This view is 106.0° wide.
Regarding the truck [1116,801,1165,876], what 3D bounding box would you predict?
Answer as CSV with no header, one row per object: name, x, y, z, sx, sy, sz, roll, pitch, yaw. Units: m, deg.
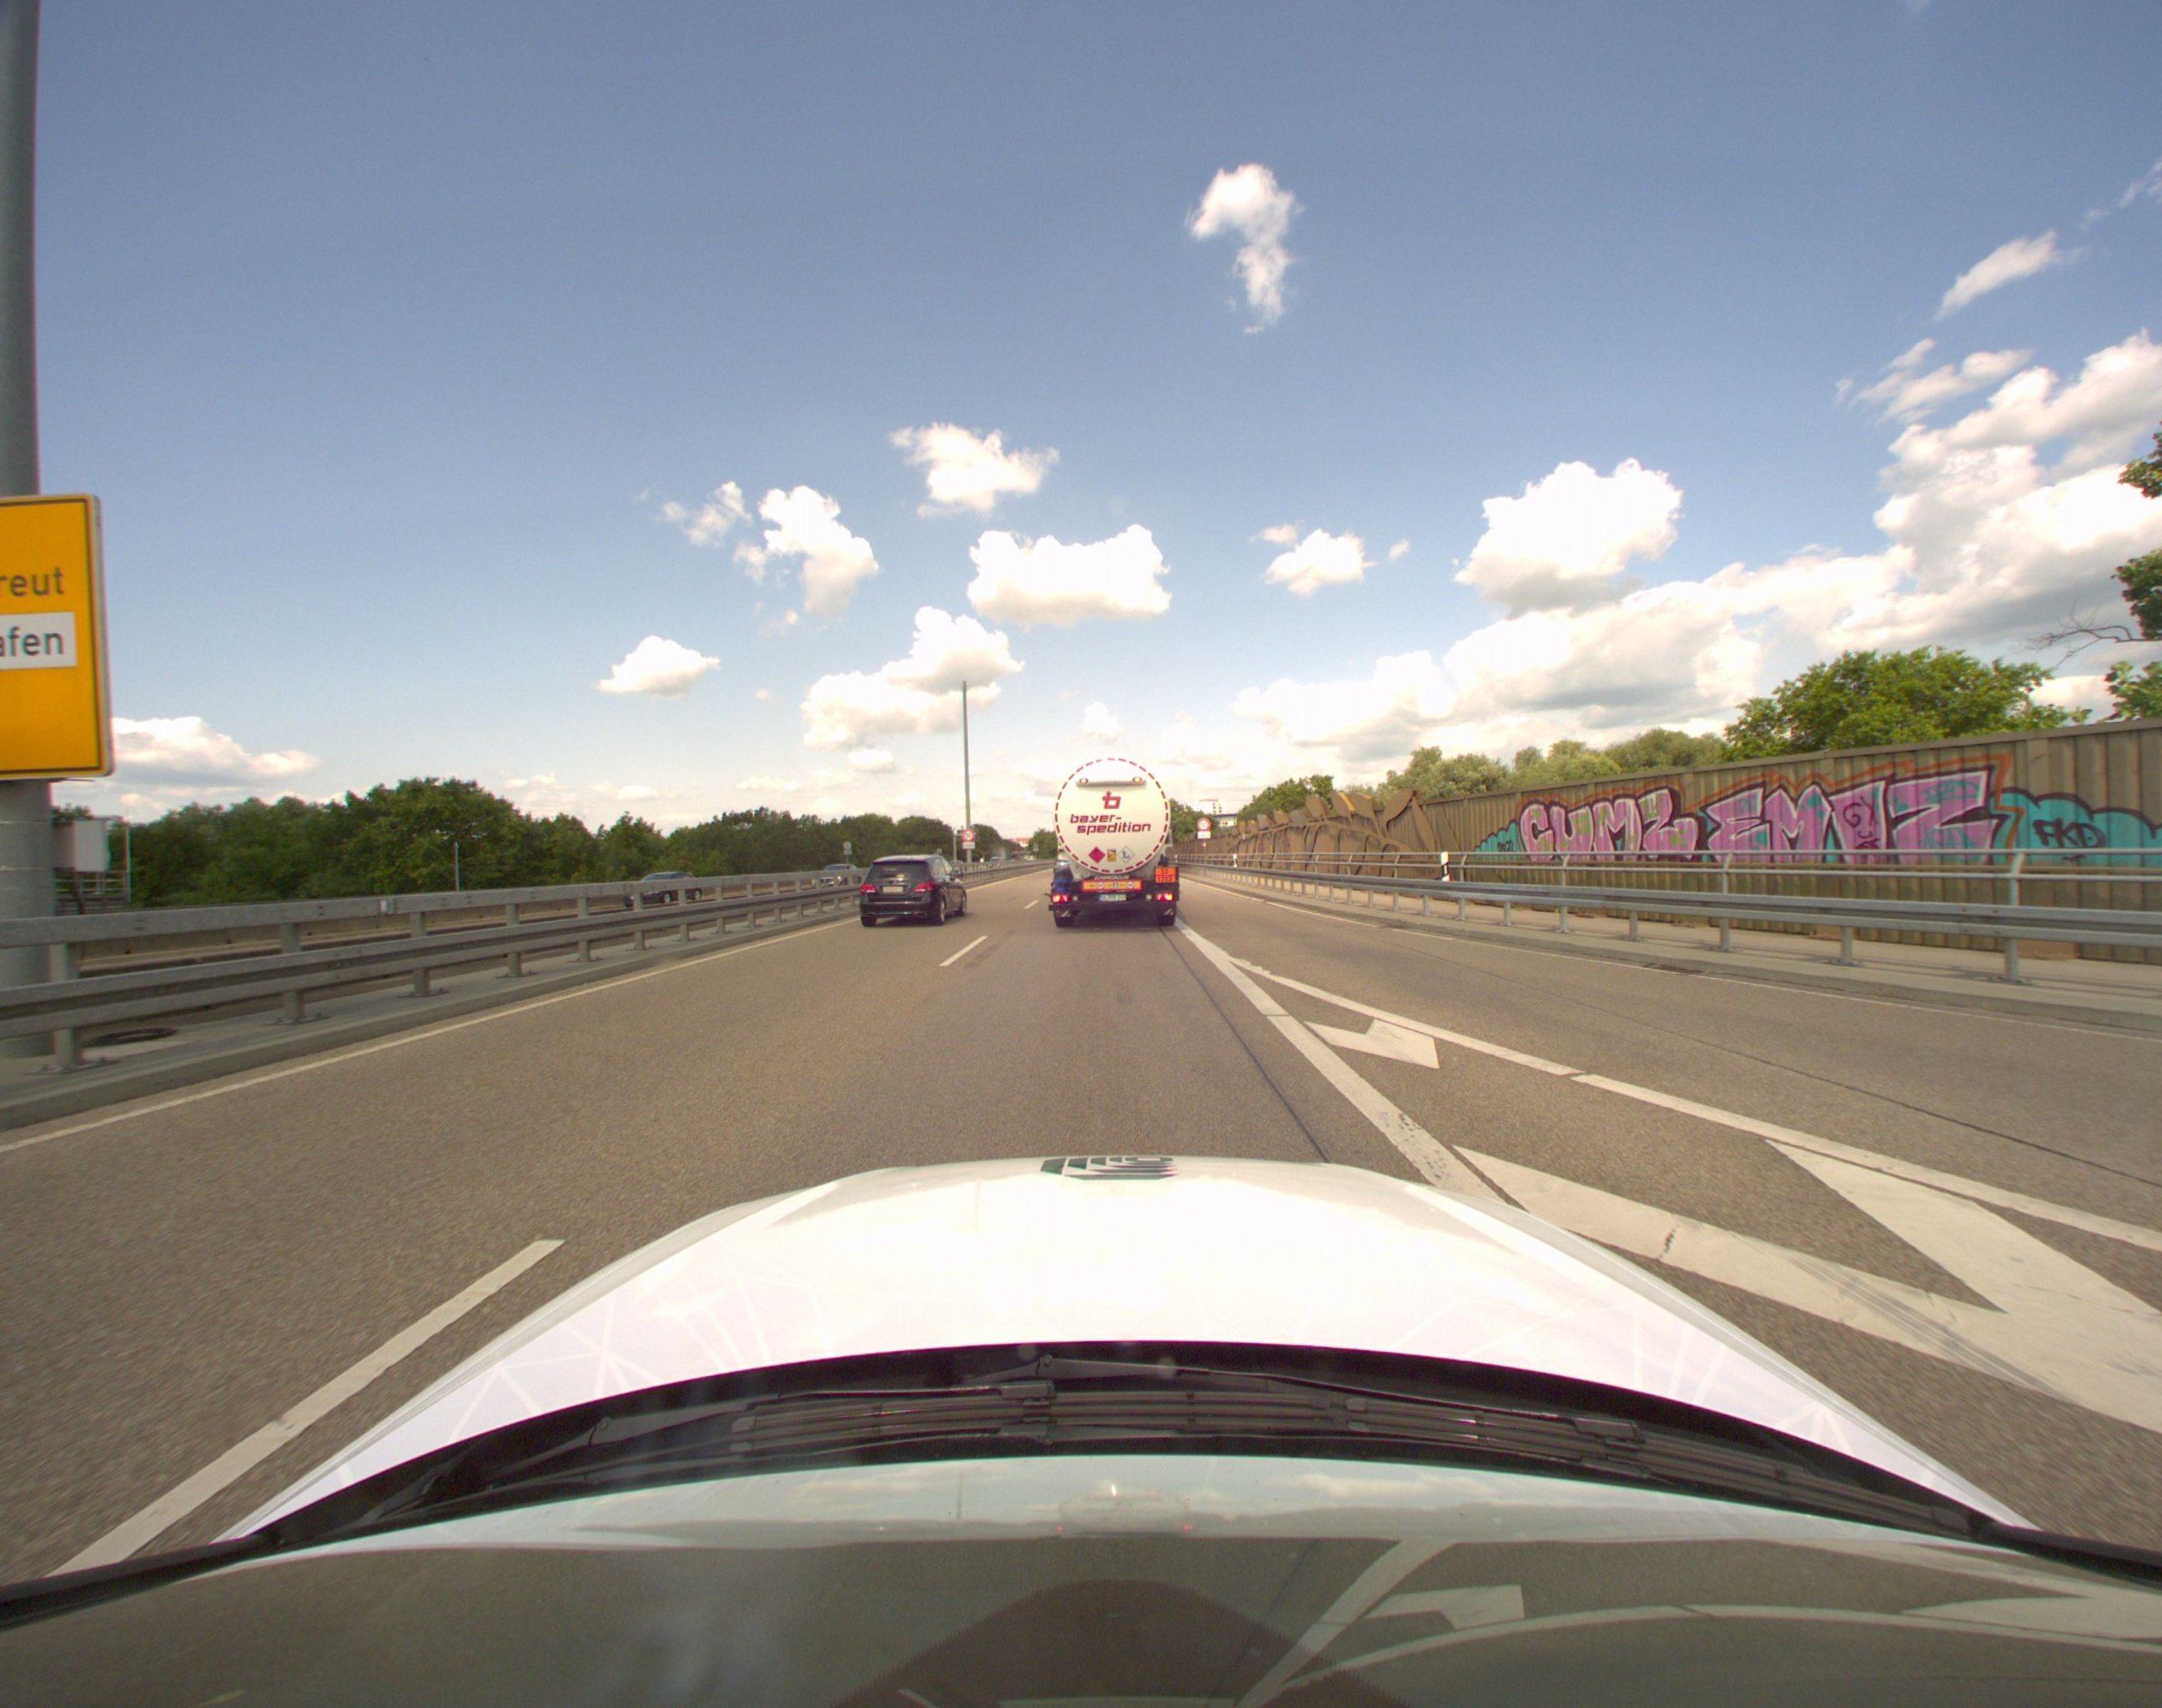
truck,4.007,-0.990,56.467,2.885,4.807,8.030,0,0,1

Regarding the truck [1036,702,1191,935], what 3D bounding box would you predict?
truck,0.673,-0.686,19.319,2.885,4.368,8.030,0,0,1

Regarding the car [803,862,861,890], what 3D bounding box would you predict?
car,-14.331,1.244,47.155,1.770,1.420,4.624,-1,0,2

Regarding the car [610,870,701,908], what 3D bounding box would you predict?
car,-18.219,1.456,35.082,1.672,1.401,4.001,-2,0,1

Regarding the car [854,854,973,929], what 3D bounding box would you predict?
car,-3.759,0.767,19.073,1.705,1.527,4.594,0,0,2

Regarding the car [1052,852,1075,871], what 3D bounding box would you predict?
car,-1.439,0.619,69.630,1.741,1.531,4.001,-1,1,1

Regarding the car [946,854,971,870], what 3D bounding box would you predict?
car,-13.036,0.849,87.052,1.986,1.574,4.001,0,0,1
